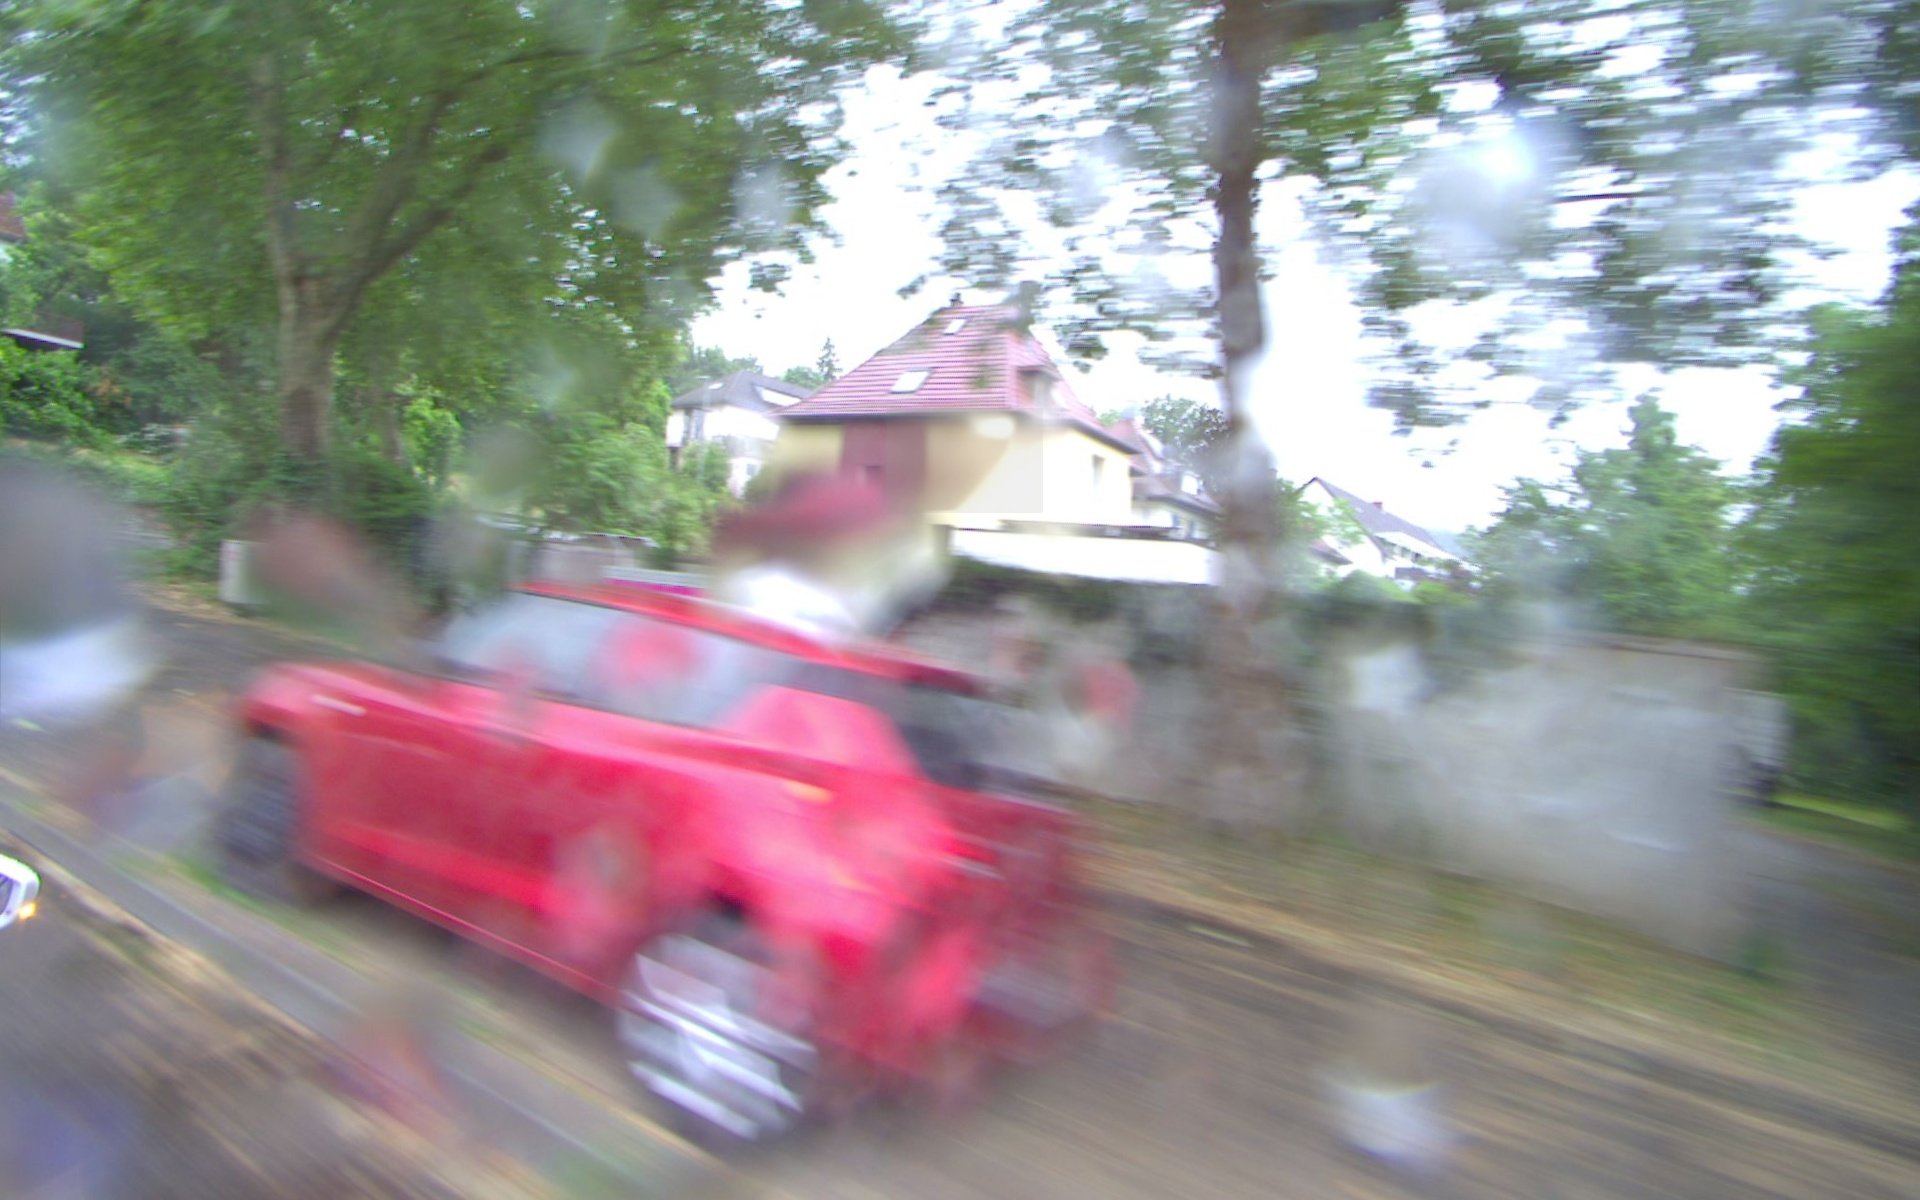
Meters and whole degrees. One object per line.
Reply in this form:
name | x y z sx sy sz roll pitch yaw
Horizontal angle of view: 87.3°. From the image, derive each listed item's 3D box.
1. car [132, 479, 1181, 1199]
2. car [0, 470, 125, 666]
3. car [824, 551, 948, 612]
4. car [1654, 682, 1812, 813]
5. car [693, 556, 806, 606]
car | -1.267 0.650 4.069 3.679 1.531 1.828 9 -5 30
car | -9.173 -0.452 8.795 3.540 1.508 1.753 7 -2 32
car | -2.215 -0.553 29.869 3.375 1.490 1.486 5 1 33
car | 15.156 2.779 19.975 1.747 2.064 4.692 6 -1 31
car | -6.821 -0.628 32.489 3.399 1.315 1.540 5 1 33
